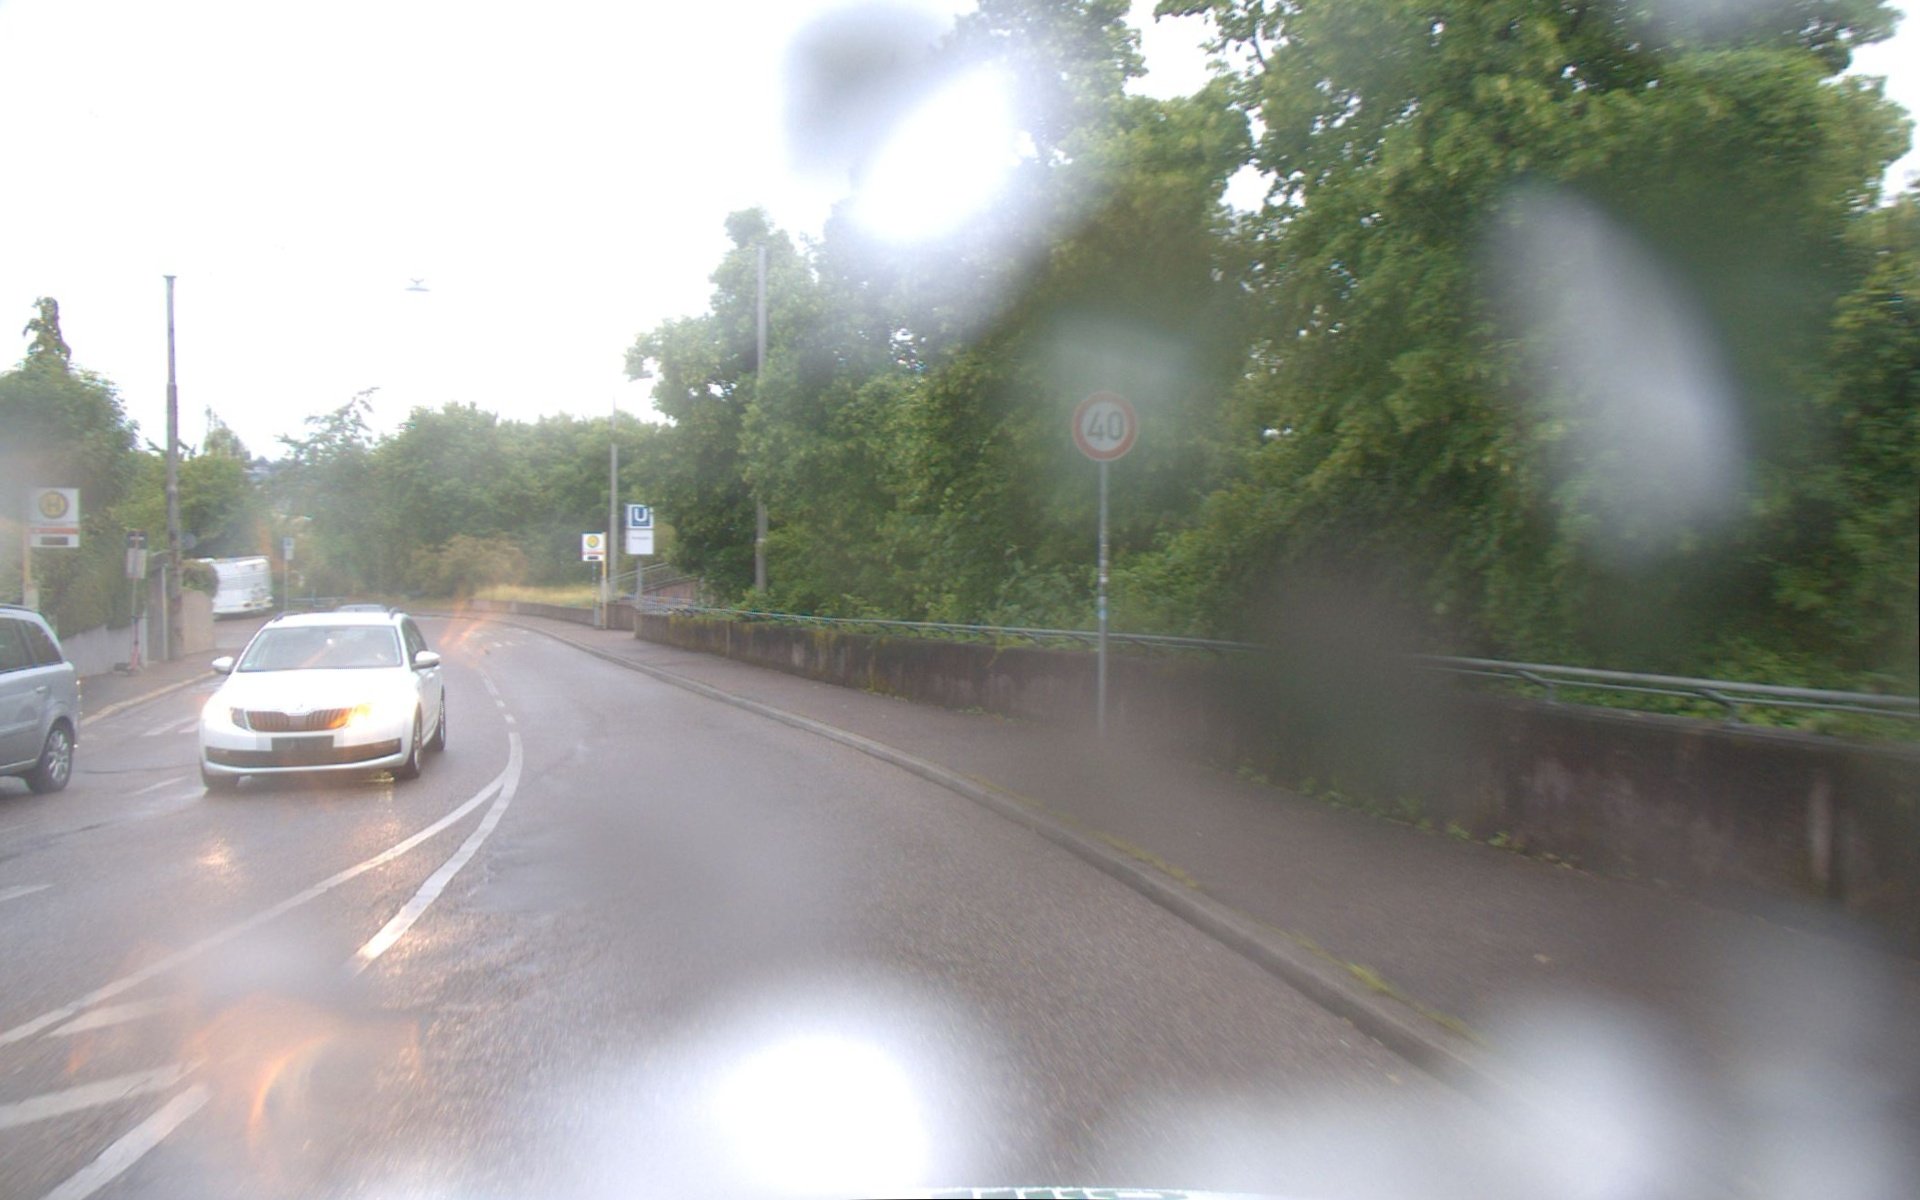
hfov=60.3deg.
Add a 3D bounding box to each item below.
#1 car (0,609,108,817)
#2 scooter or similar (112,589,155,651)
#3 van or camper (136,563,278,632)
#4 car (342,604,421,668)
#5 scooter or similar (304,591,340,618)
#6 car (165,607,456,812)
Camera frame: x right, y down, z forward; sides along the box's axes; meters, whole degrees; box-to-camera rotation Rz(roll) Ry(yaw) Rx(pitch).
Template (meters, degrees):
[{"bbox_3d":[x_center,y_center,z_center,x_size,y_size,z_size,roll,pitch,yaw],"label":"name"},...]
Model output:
[{"bbox_3d":[-8.308,0.887,12.776,1.679,1.613,4.452,0,0,-8],"label":"car"},{"bbox_3d":[-17.390,0.406,34.811,0.514,1.224,1.428,-3,2,-17],"label":"scooter or similar"},{"bbox_3d":[-38.114,-0.139,83.751,6.127,2.993,2.402,-2,6,13],"label":"van or camper"},{"bbox_3d":[-15.077,0.901,43.289,1.710,1.476,4.593,-3,1,-17],"label":"car"},{"bbox_3d":[-32.838,0.224,85.117,1.668,1.304,0.452,-3,3,14],"label":"scooter or similar"},{"bbox_3d":[-5.884,0.882,15.523,1.816,1.499,4.426,-3,1,-13],"label":"car"}]
